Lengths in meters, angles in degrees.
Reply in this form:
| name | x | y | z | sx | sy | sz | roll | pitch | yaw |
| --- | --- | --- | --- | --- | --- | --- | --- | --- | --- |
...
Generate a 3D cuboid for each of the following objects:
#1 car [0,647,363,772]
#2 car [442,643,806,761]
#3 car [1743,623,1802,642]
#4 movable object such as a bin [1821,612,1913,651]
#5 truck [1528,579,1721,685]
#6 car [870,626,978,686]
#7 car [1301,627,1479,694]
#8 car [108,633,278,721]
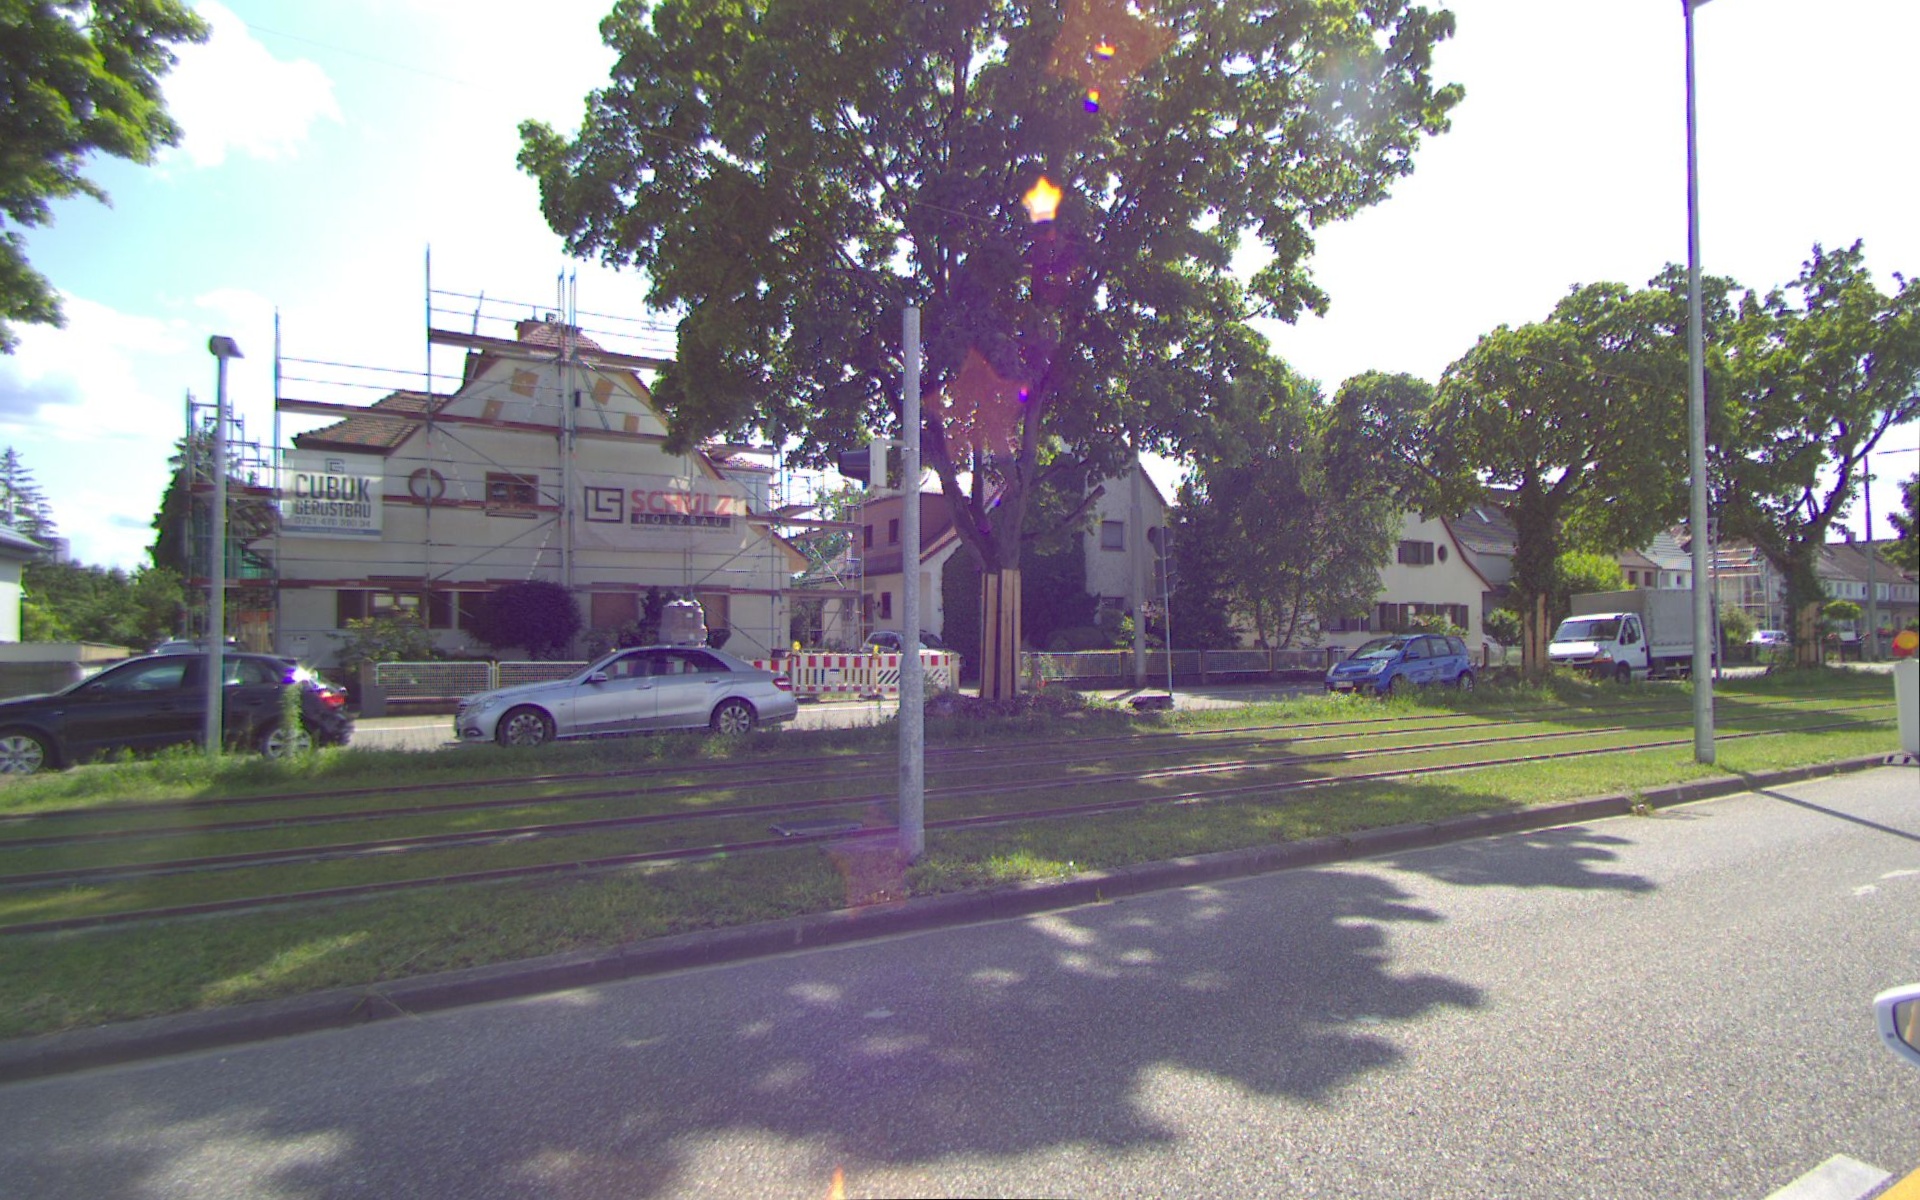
| name | x | y | z | sx | sy | sz | roll | pitch | yaw |
| --- | --- | --- | --- | --- | --- | --- | --- | --- | --- |
| car | -9.562 | 1.282 | 12.298 | 3.807 | 1.334 | 1.985 | 2 | -5 | -30 |
| car | -4.893 | 1.405 | 14.878 | 4.880 | 1.502 | 1.797 | 1 | -3 | -30 |
| car | 48.619 | 1.940 | 60.113 | 3.940 | 1.066 | 1.674 | 2 | -3 | -34 |
| movable object such as a bin | 59.378 | 2.065 | 65.871 | 4.284 | 2.481 | 1.781 | -2 | -2 | 39 |
| truck | 19.376 | 0.947 | 29.200 | 6.202 | 2.803 | 1.985 | 1 | -5 | -30 |
| car | -1.167 | 1.696 | 30.680 | 1.851 | 1.706 | 3.631 | 2 | -3 | -30 |
| car | 10.211 | 1.413 | 23.802 | 3.955 | 1.472 | 1.983 | 2 | -3 | -32 |
| car | -14.395 | 1.386 | 19.103 | 1.958 | 1.419 | 3.969 | 2 | -2 | -29 |
